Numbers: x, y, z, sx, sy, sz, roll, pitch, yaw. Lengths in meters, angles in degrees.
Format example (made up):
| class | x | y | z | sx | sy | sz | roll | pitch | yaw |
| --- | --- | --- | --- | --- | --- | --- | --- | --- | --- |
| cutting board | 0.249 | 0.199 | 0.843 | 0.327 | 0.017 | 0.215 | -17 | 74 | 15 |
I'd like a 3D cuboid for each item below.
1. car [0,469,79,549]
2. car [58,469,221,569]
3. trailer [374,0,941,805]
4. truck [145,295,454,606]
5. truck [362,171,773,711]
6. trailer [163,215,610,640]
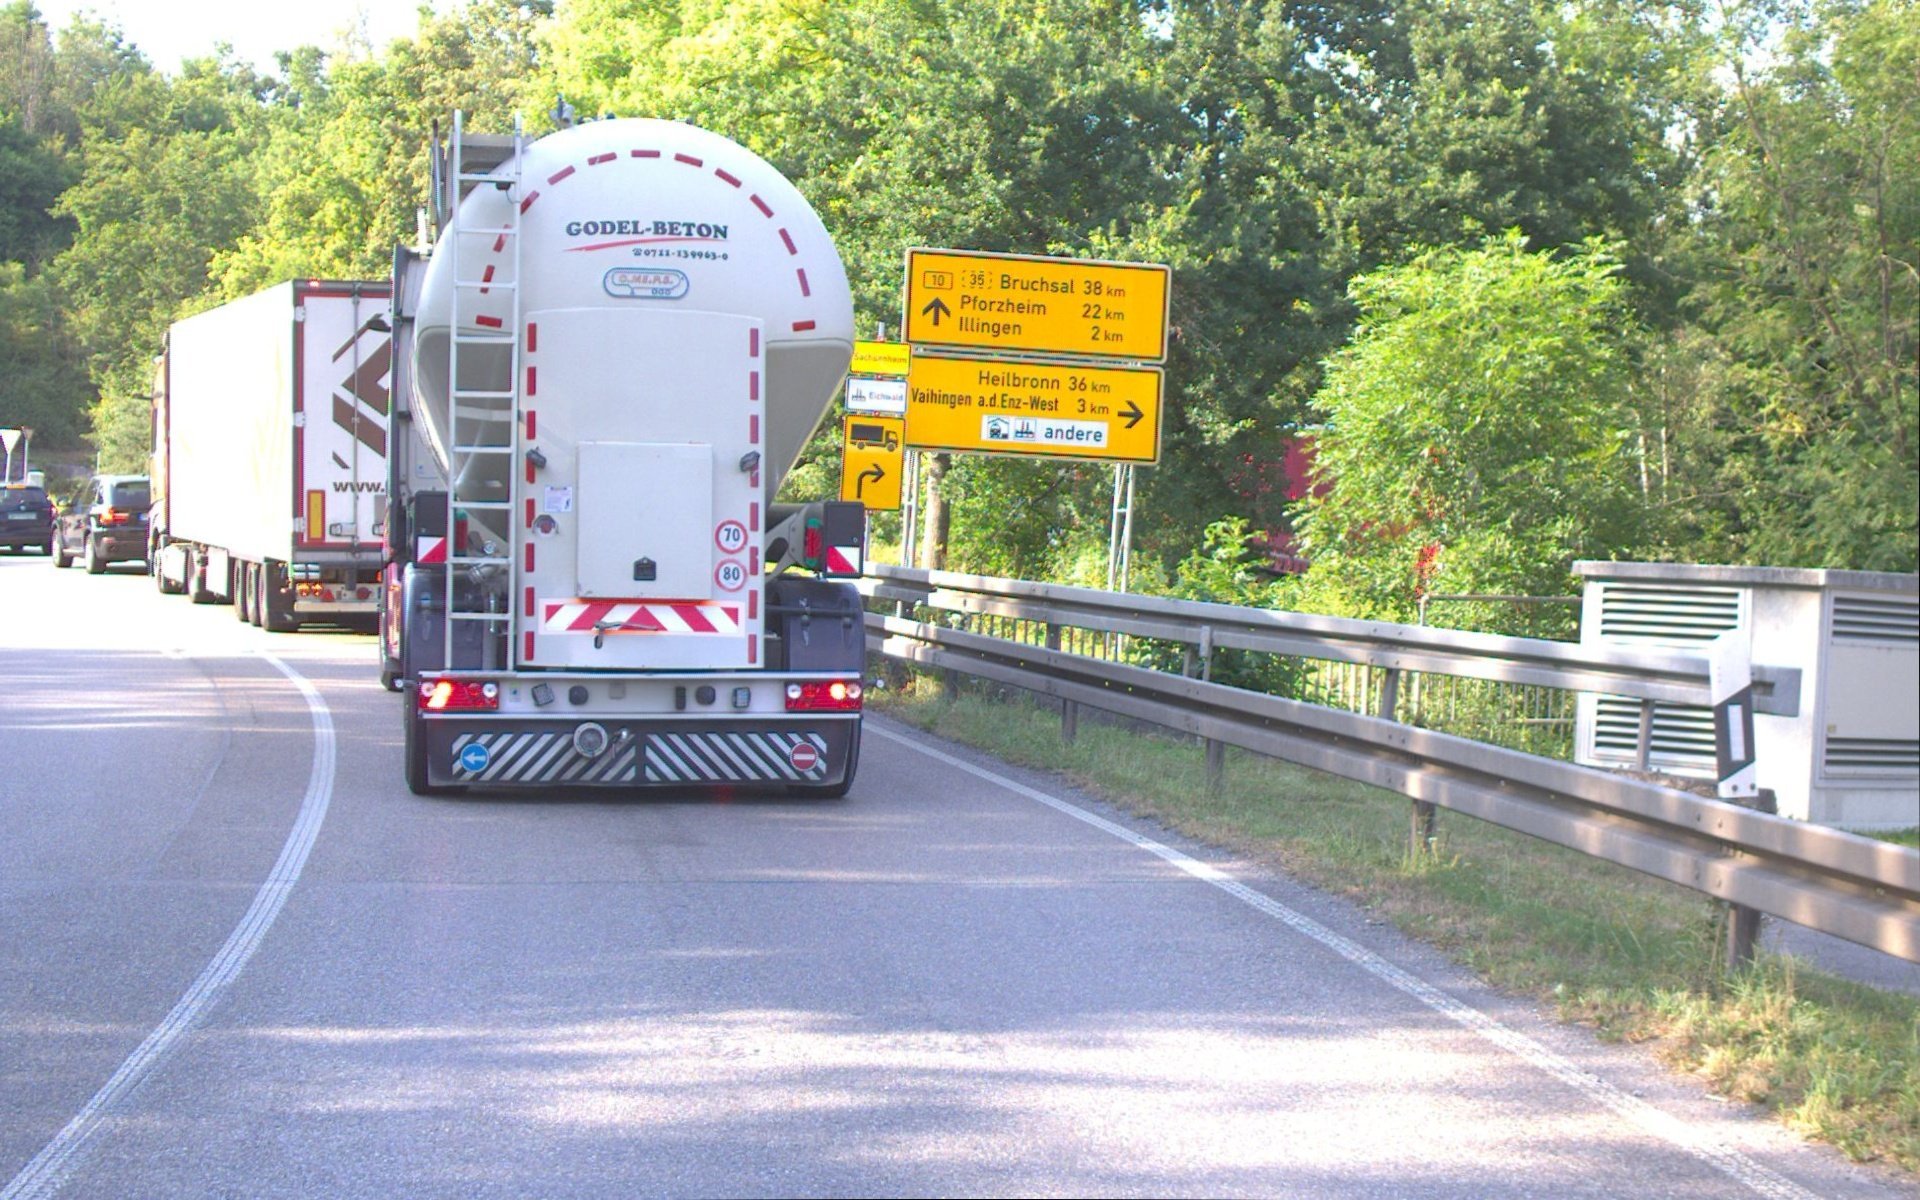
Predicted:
| class | x | y | z | sx | sy | sz | roll | pitch | yaw |
| --- | --- | --- | --- | --- | --- | --- | --- | --- | --- |
| car | -19.187 | -1.847 | 69.074 | 1.867 | 1.559 | 4.001 | -1 | 3 | -30 |
| car | -14.442 | -1.438 | 60.380 | 1.867 | 1.622 | 4.001 | 2 | 1 | -26 |
| trailer | -2.411 | -1.262 | 23.177 | 2.886 | 4.439 | 9.609 | 1 | 1 | -10 |
| truck | -9.693 | -2.103 | 49.863 | 3.449 | 4.072 | 6.493 | 2 | 1 | -18 |
| truck | -3.468 | -1.267 | 29.009 | 2.823 | 4.021 | 5.896 | 1 | 1 | -12 |
| trailer | -7.690 | -2.043 | 43.890 | 3.544 | 4.497 | 12.988 | 2 | 1 | -18 |
